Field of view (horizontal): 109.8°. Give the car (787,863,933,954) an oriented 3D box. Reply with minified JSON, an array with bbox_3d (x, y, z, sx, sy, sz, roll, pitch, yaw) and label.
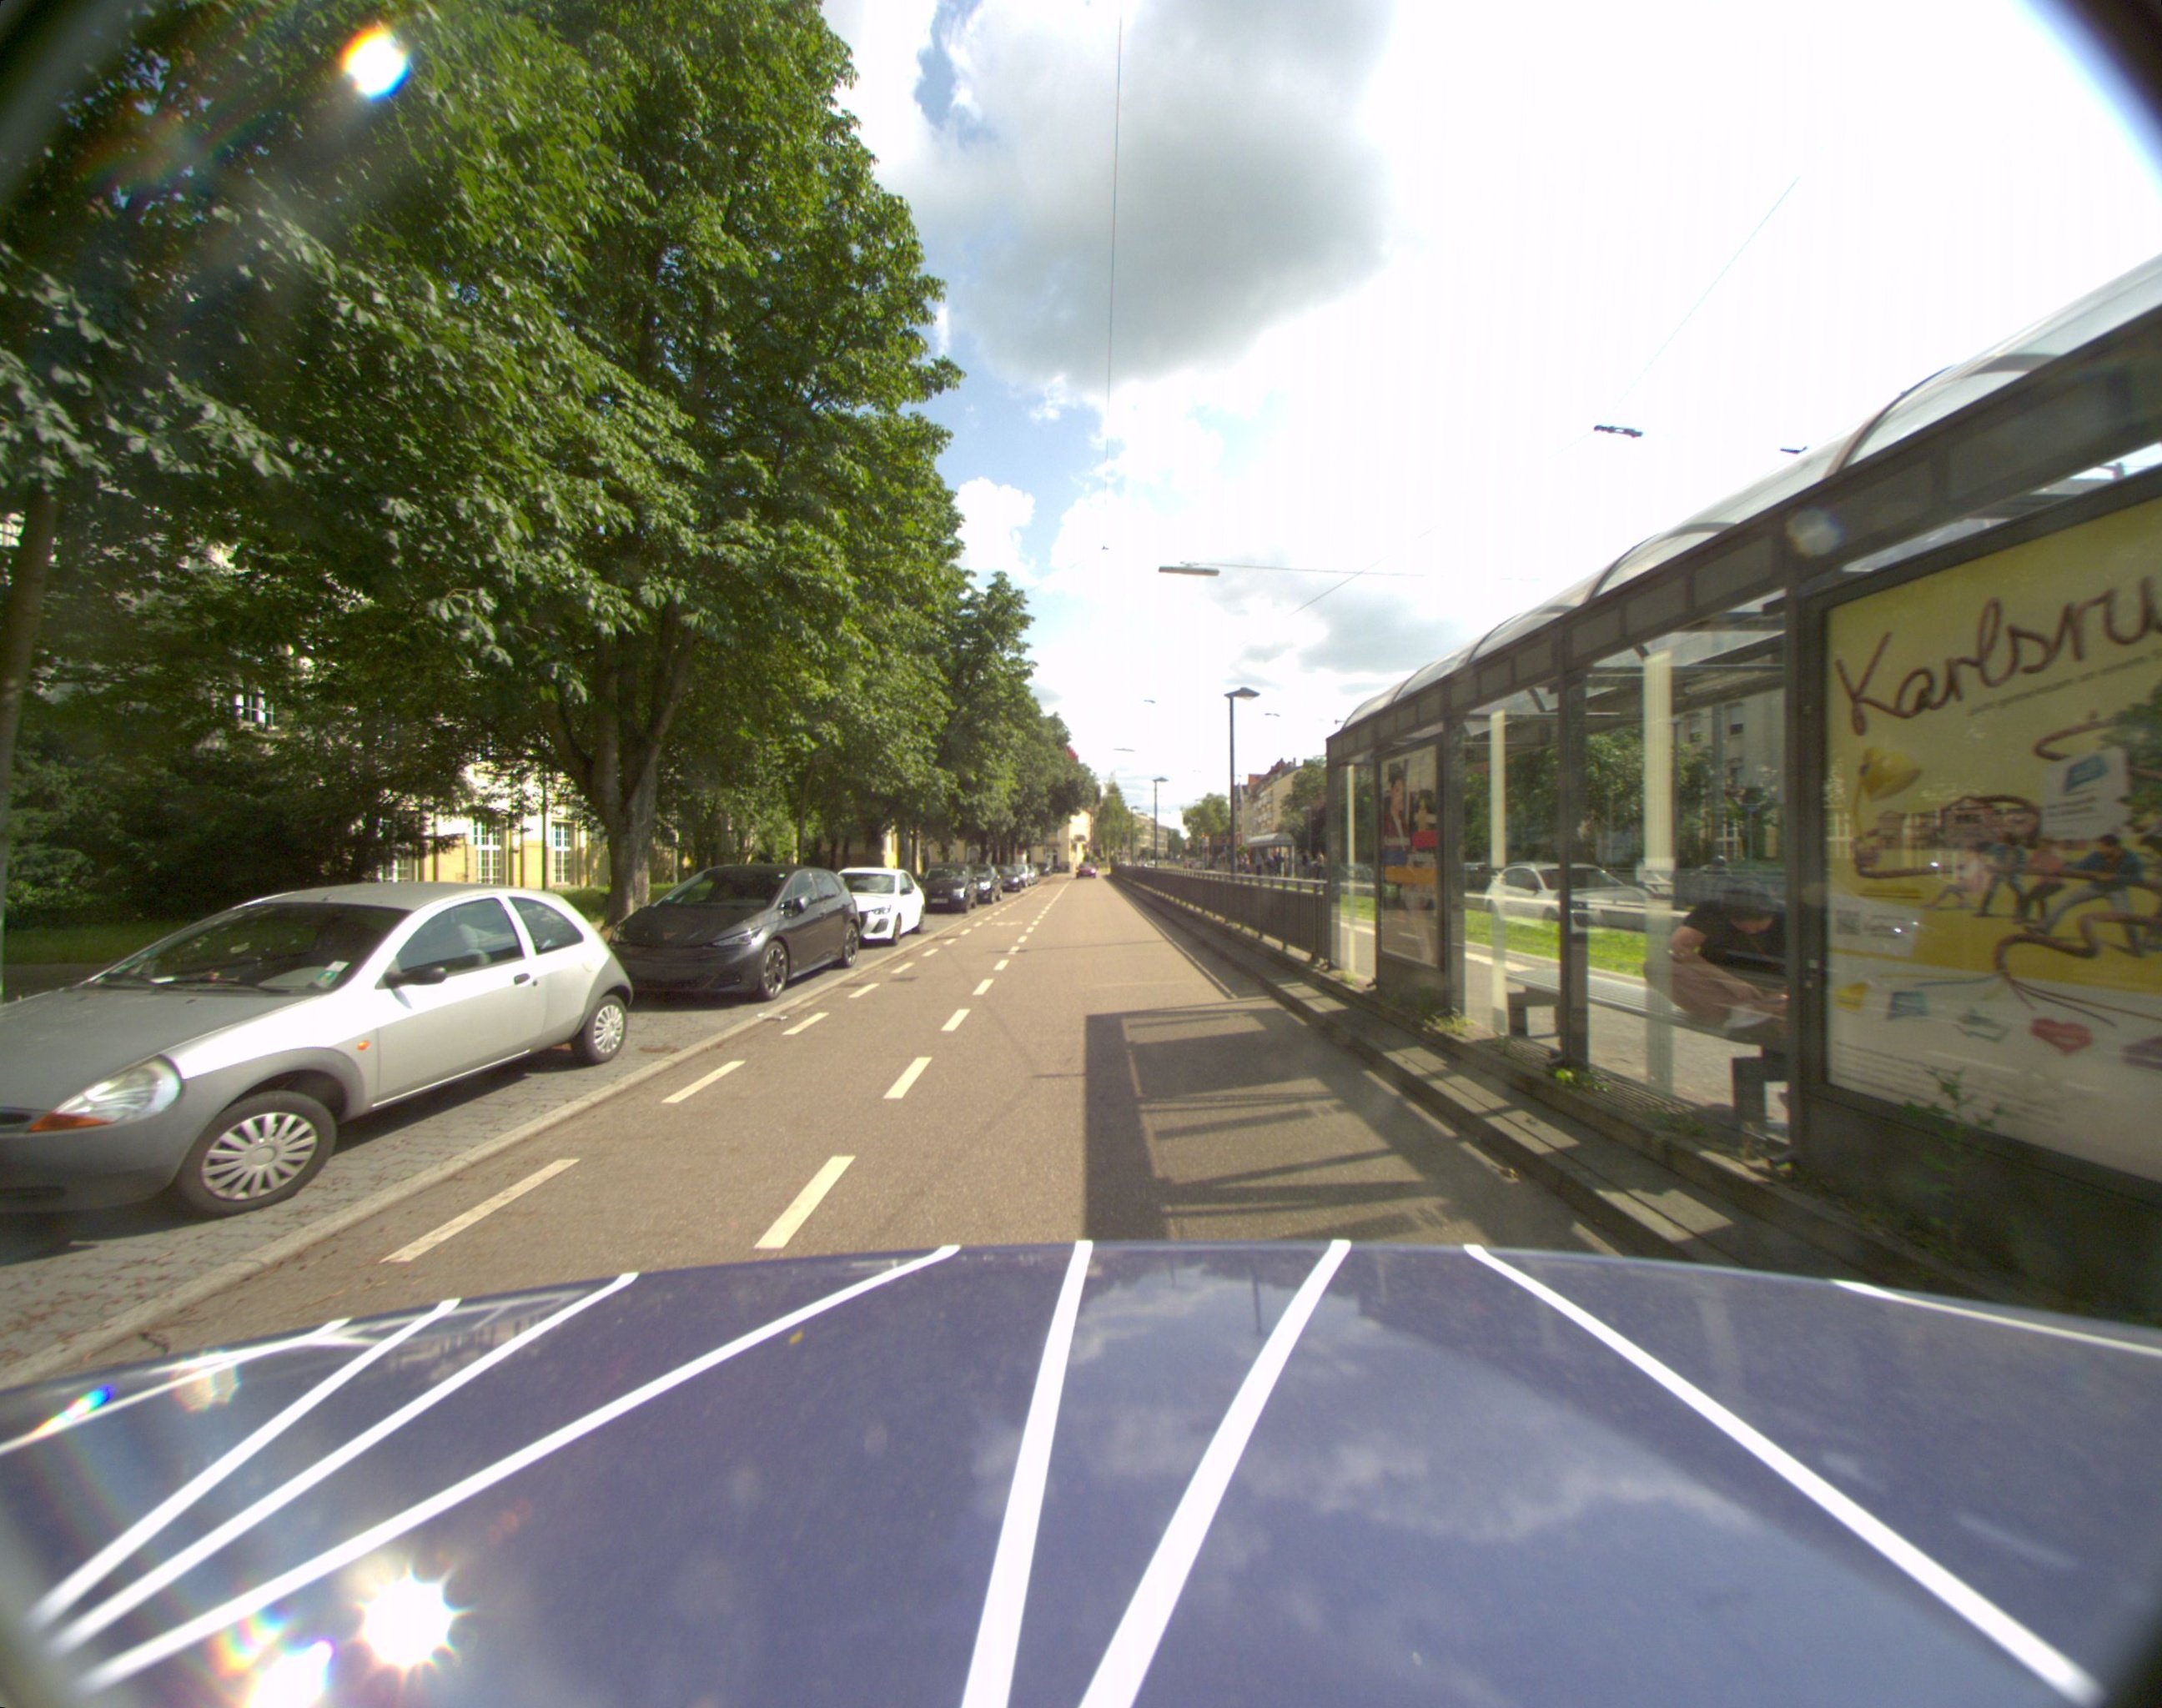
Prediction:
[{"bbox_3d":[-4.318,0.986,15.560,1.840,1.514,4.252,2,0,-2],"label":"car"}]

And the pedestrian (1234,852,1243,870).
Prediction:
[{"bbox_3d":[14.362,0.620,69.320,0.667,1.689,0.798,0,1,-2],"label":"pedestrian"}]

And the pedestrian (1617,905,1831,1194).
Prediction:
[{"bbox_3d":[2.816,0.784,3.411,0.662,1.066,0.725,0,-1,35],"label":"pedestrian"}]

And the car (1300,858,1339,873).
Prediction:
[{"bbox_3d":[23.678,1.104,75.273,4.008,1.487,1.647,0,0,-37],"label":"car"}]

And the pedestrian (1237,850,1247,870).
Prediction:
[{"bbox_3d":[13.752,0.535,64.739,0.640,1.714,0.798,0,1,-2],"label":"pedestrian"}]

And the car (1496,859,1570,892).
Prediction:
[{"bbox_3d":[22.890,1.050,38.407,4.161,1.555,1.921,0,1,-40],"label":"car"}]

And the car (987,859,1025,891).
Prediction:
[{"bbox_3d":[-3.998,1.094,41.092,1.836,1.458,4.829,2,1,-3],"label":"car"}]

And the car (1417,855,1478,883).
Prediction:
[{"bbox_3d":[23.206,0.919,48.077,4.145,1.630,1.829,0,1,-39],"label":"car"}]

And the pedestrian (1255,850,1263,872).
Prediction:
[{"bbox_3d":[13.519,0.520,57.737,0.487,1.716,0.624,-1,1,0],"label":"pedestrian"}]

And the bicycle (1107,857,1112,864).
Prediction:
[{"bbox_3d":[5.487,1.308,145.857,0.772,1.097,2.573,-2,-4,1],"label":"bicycle"}]

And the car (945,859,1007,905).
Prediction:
[{"bbox_3d":[-3.987,1.023,29.493,1.695,1.552,4.307,3,0,0],"label":"car"}]

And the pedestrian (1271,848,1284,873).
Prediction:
[{"bbox_3d":[13.593,0.444,52.604,0.634,1.732,1.036,0,1,-2],"label":"pedestrian"}]

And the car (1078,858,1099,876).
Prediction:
[{"bbox_3d":[0.626,1.137,68.373,1.790,1.499,4.000,-2,0,0],"label":"car"}]

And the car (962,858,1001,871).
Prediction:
[{"bbox_3d":[-13.206,1.347,101.246,4.828,1.646,1.858,-1,2,10],"label":"car"}]

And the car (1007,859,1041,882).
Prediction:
[{"bbox_3d":[-3.863,1.111,52.245,1.833,1.432,5.050,3,0,0],"label":"car"}]

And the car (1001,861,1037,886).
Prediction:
[{"bbox_3d":[-3.786,1.164,47.035,1.639,1.423,4.016,2,0,3],"label":"car"}]

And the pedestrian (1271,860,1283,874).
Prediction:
[{"bbox_3d":[14.095,0.918,54.650,0.706,0.989,0.562,1,1,-2],"label":"pedestrian"}]

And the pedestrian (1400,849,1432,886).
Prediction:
[{"bbox_3d":[14.213,0.551,32.239,0.991,1.569,0.798,0,1,-2],"label":"pedestrian"}]

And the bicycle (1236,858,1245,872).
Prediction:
[{"bbox_3d":[13.532,0.912,64.493,0.663,1.107,1.878,1,0,9],"label":"bicycle"}]

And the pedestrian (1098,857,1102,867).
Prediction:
[{"bbox_3d":[3.208,1.283,125.920,0.593,1.622,0.538,2,0,3],"label":"pedestrian"}]

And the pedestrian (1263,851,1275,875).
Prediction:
[{"bbox_3d":[12.834,0.597,51.945,0.599,1.623,0.558,0,0,-14],"label":"pedestrian"}]

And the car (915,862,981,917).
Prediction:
[{"bbox_3d":[-4.175,1.078,24.299,1.560,1.452,3.557,3,1,-2],"label":"car"}]

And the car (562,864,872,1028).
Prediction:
[{"bbox_3d":[-4.300,0.955,9.959,1.729,1.574,4.677,1,0,1],"label":"car"}]

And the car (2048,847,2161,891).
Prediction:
[{"bbox_3d":[42.690,0.606,31.009,3.997,1.723,1.823,1,1,1],"label":"car"}]

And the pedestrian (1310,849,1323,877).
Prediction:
[{"bbox_3d":[14.176,0.518,45.770,0.608,1.664,0.625,0,1,0],"label":"pedestrian"}]

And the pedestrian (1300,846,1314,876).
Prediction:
[{"bbox_3d":[13.548,0.401,45.502,0.607,1.744,0.626,1,1,41],"label":"pedestrian"}]

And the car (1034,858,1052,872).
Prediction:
[{"bbox_3d":[-3.956,1.145,79.492,1.689,1.379,3.924,1,0,1],"label":"car"}]

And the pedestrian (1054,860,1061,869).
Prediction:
[{"bbox_3d":[-3.166,1.433,103.173,0.804,1.238,0.892,0,2,3],"label":"pedestrian"}]

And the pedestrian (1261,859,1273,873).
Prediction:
[{"bbox_3d":[13.724,0.906,56.151,0.721,1.025,0.623,1,1,-2],"label":"pedestrian"}]

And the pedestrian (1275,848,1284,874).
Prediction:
[{"bbox_3d":[13.973,0.471,53.516,0.444,1.816,0.623,0,1,-2],"label":"pedestrian"}]

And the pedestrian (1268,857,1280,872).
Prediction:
[{"bbox_3d":[14.089,0.790,55.510,0.655,1.027,0.561,1,9,-2],"label":"pedestrian"}]

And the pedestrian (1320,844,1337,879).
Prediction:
[{"bbox_3d":[13.405,0.398,41.123,0.752,1.881,0.638,-1,3,3],"label":"pedestrian"}]

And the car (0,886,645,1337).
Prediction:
[{"bbox_3d":[-4.466,1.009,4.549,1.594,1.436,3.598,1,0,1],"label":"car"}]

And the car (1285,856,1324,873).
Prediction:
[{"bbox_3d":[22.810,1.039,77.472,3.851,1.649,1.871,0,0,-39],"label":"car"}]

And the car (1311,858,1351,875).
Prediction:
[{"bbox_3d":[22.596,1.139,68.603,3.317,1.412,1.581,-3,1,-30],"label":"car"}]

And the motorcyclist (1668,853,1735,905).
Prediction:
[{"bbox_3d":[16.246,0.637,19.923,0.941,1.331,0.986,0,0,1],"label":"motorcyclist"}]
